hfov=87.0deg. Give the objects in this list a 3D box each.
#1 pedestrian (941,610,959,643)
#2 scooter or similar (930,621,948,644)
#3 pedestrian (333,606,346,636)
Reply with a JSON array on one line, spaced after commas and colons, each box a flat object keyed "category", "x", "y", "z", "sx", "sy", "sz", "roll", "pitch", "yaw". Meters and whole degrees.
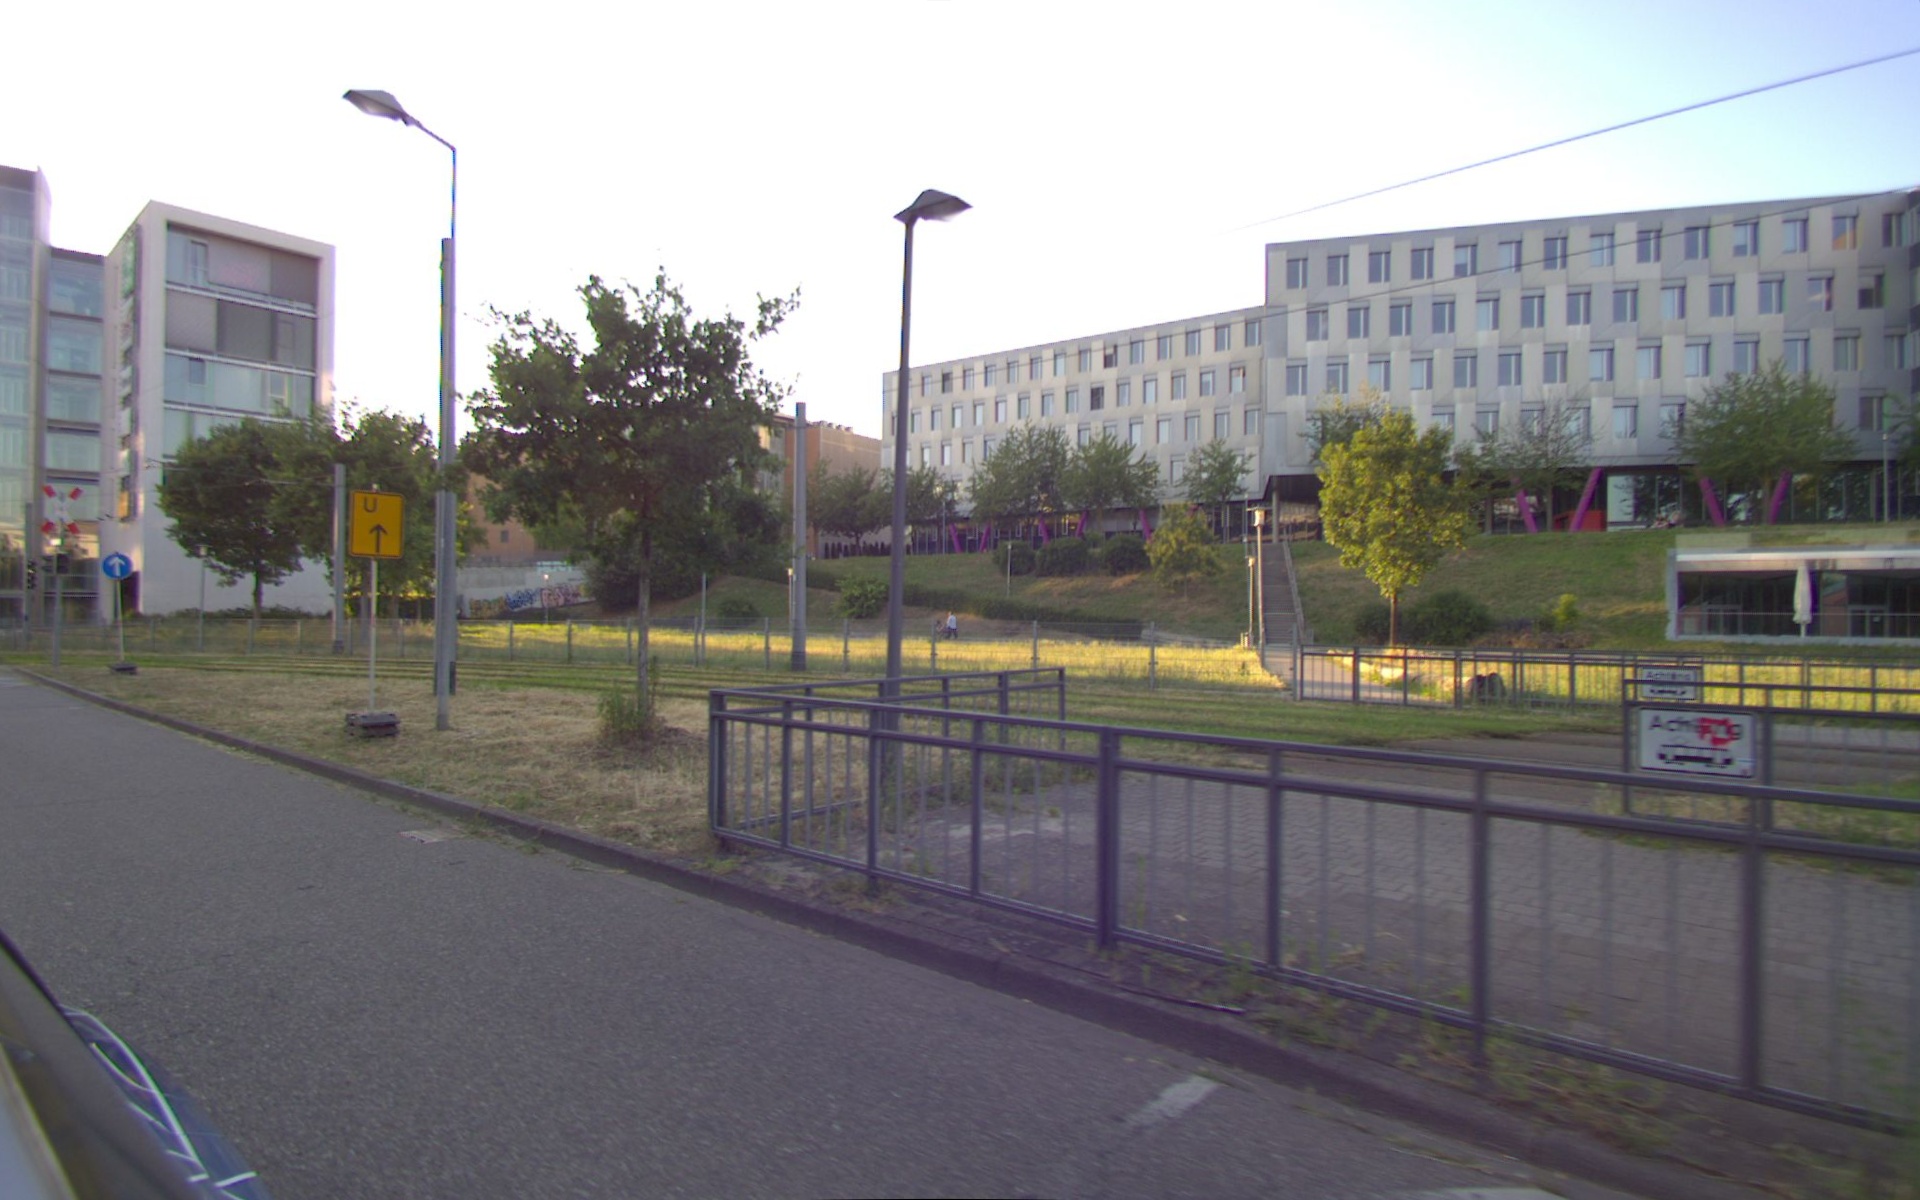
[{"category": "pedestrian", "x": -0.565, "y": 1.477, "z": 56.849, "sx": 0.790, "sy": 1.850, "sz": 0.610, "roll": 0, "pitch": 0, "yaw": 40}, {"category": "scooter or similar", "x": -1.208, "y": 1.820, "z": 57.401, "sx": 0.790, "sy": 1.253, "sz": 0.610, "roll": 0, "pitch": 0, "yaw": 40}, {"category": "pedestrian", "x": -37.840, "y": 1.271, "z": 61.741, "sx": 0.480, "sy": 1.850, "sz": 0.446, "roll": -1, "pitch": 0, "yaw": 21}]
